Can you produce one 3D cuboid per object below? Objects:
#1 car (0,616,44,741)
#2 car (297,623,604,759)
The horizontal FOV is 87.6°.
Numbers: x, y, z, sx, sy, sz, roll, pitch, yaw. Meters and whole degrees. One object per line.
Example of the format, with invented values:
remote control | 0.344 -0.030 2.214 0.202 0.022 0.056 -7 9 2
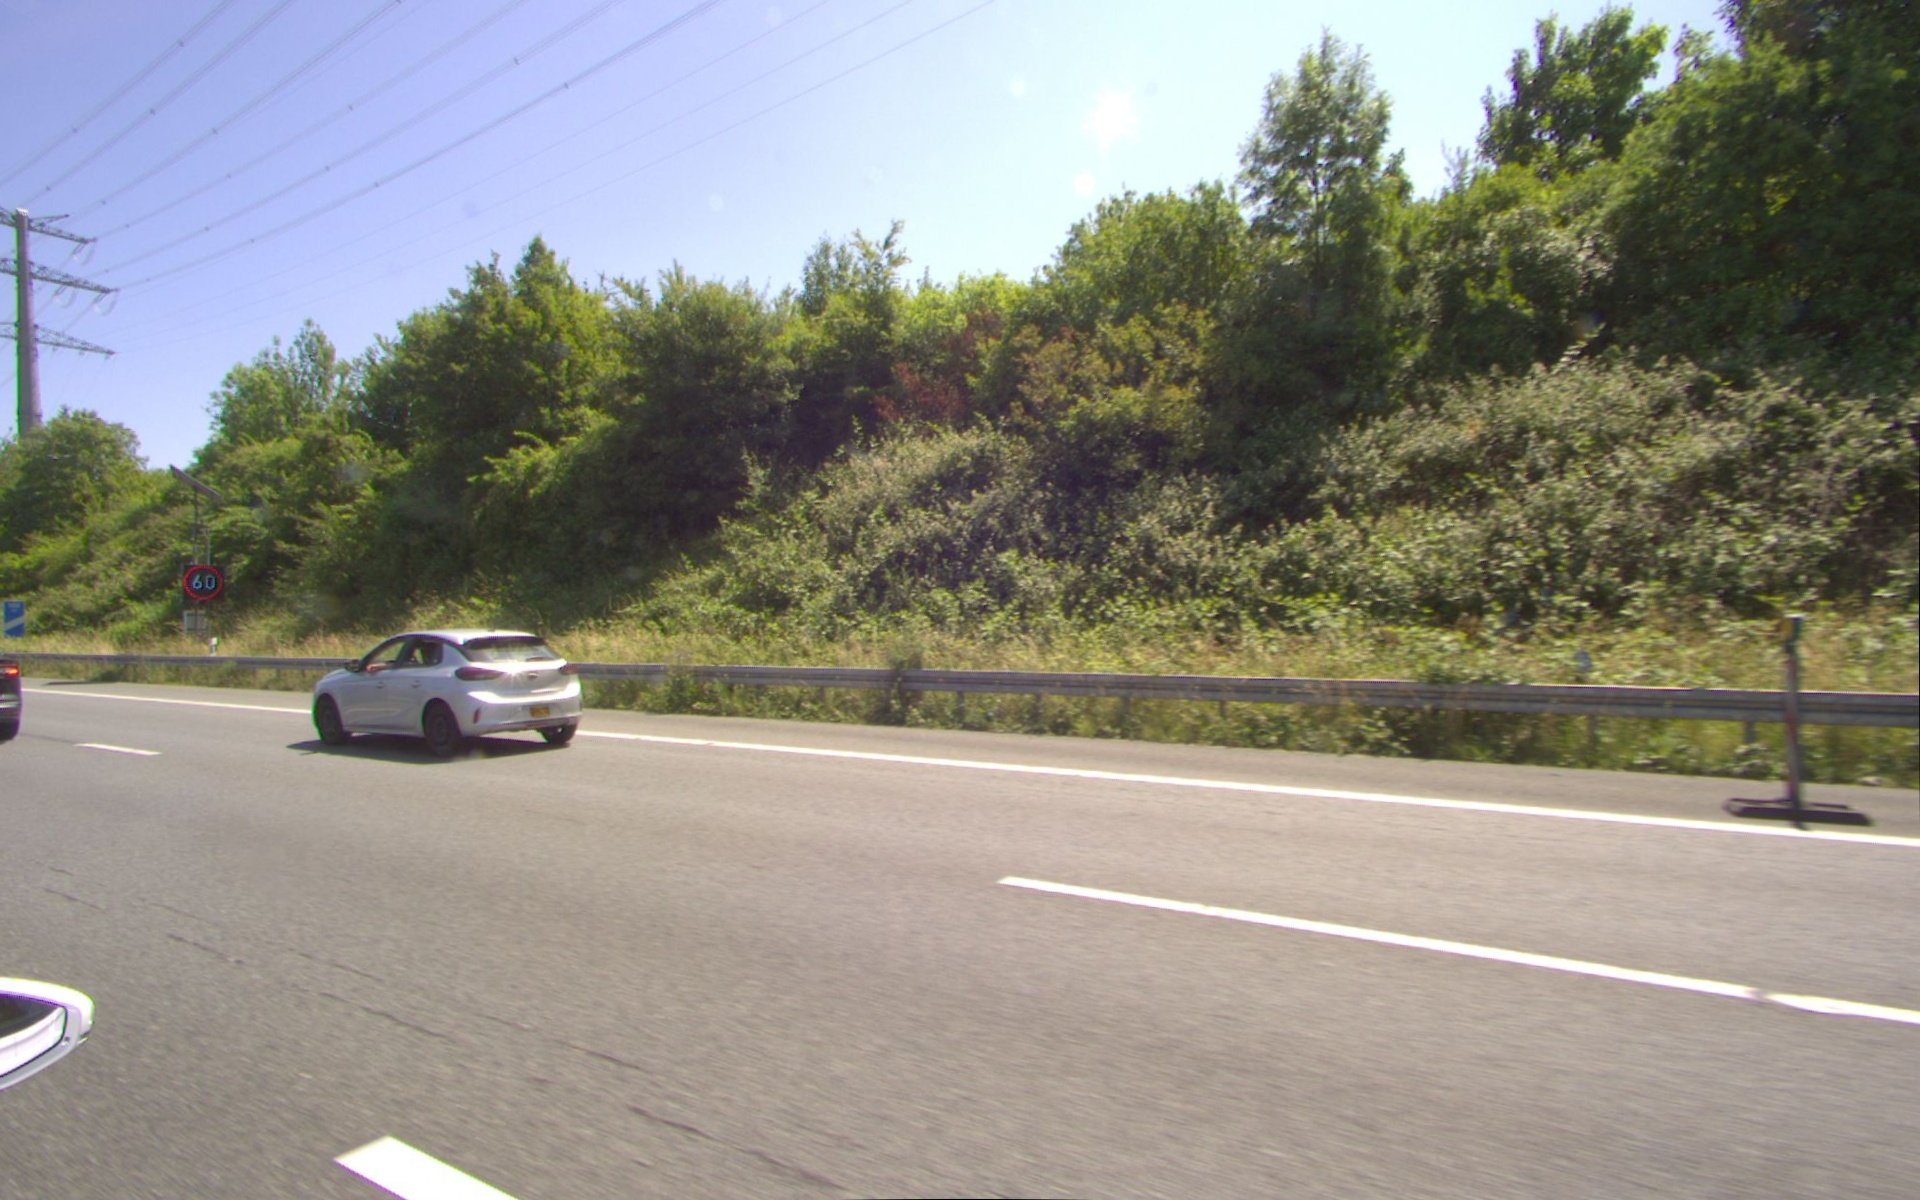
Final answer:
car | -14.703 1.051 13.889 4.366 1.635 1.825 -1 -1 32
car | -6.555 1.050 12.785 3.957 1.489 1.738 -1 -1 32
